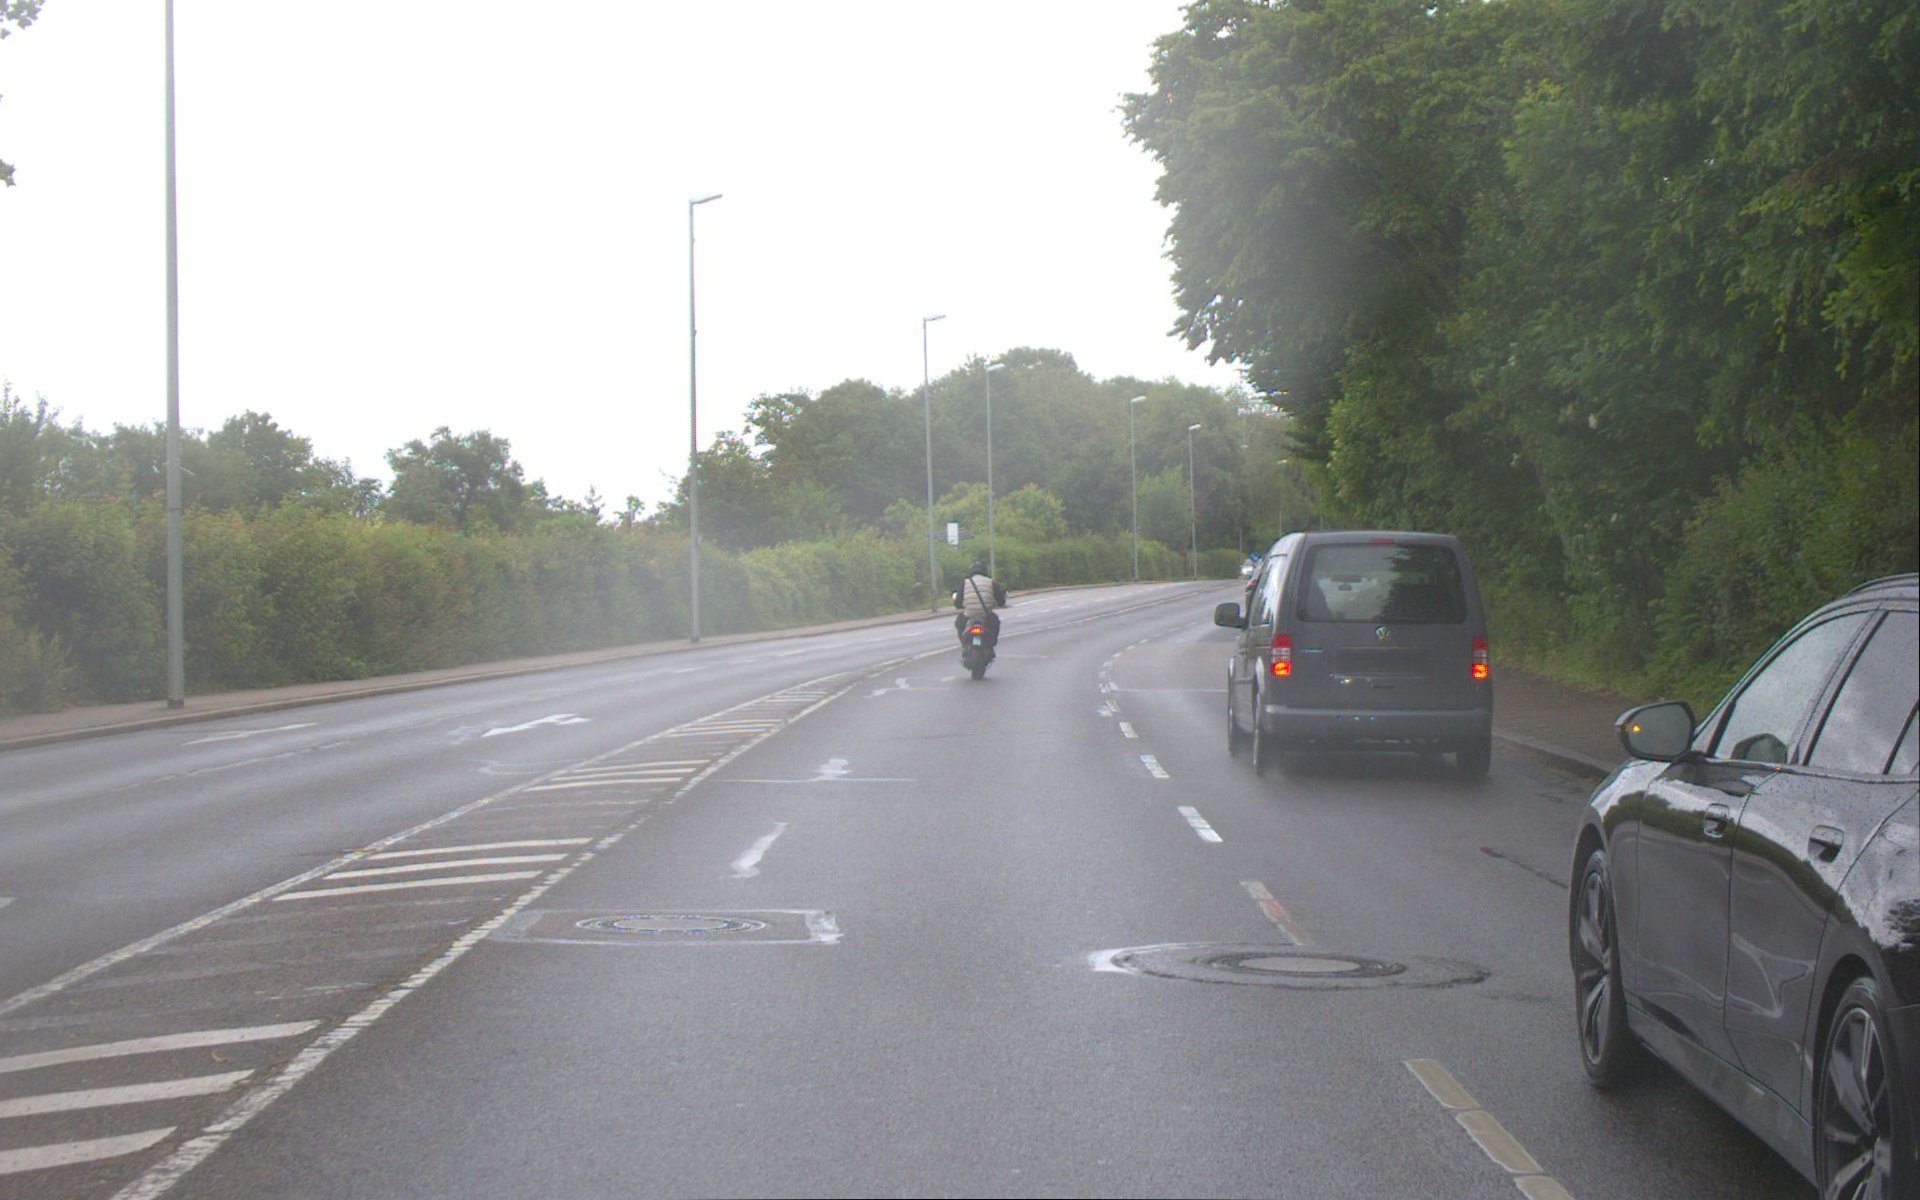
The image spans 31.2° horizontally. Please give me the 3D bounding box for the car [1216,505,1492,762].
[{"bbox_3d":[2.969,0.190,26.629,1.767,1.803,3.905,0,2,1],"label":"car"}]

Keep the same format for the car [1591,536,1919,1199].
[{"bbox_3d":[2.618,0.659,7.435,1.764,1.531,3.673,1,0,-1],"label":"car"}]

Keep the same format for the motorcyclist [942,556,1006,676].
[{"bbox_3d":[0.198,0.223,47.686,0.845,1.641,0.468,-1,2,3],"label":"motorcyclist"}]

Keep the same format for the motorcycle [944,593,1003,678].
[{"bbox_3d":[0.190,0.489,47.752,0.741,1.115,1.426,0,2,3],"label":"motorcycle"}]

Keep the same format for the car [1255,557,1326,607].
[{"bbox_3d":[10.509,-0.590,108.988,2.015,1.410,4.485,0,2,8],"label":"car"}]
